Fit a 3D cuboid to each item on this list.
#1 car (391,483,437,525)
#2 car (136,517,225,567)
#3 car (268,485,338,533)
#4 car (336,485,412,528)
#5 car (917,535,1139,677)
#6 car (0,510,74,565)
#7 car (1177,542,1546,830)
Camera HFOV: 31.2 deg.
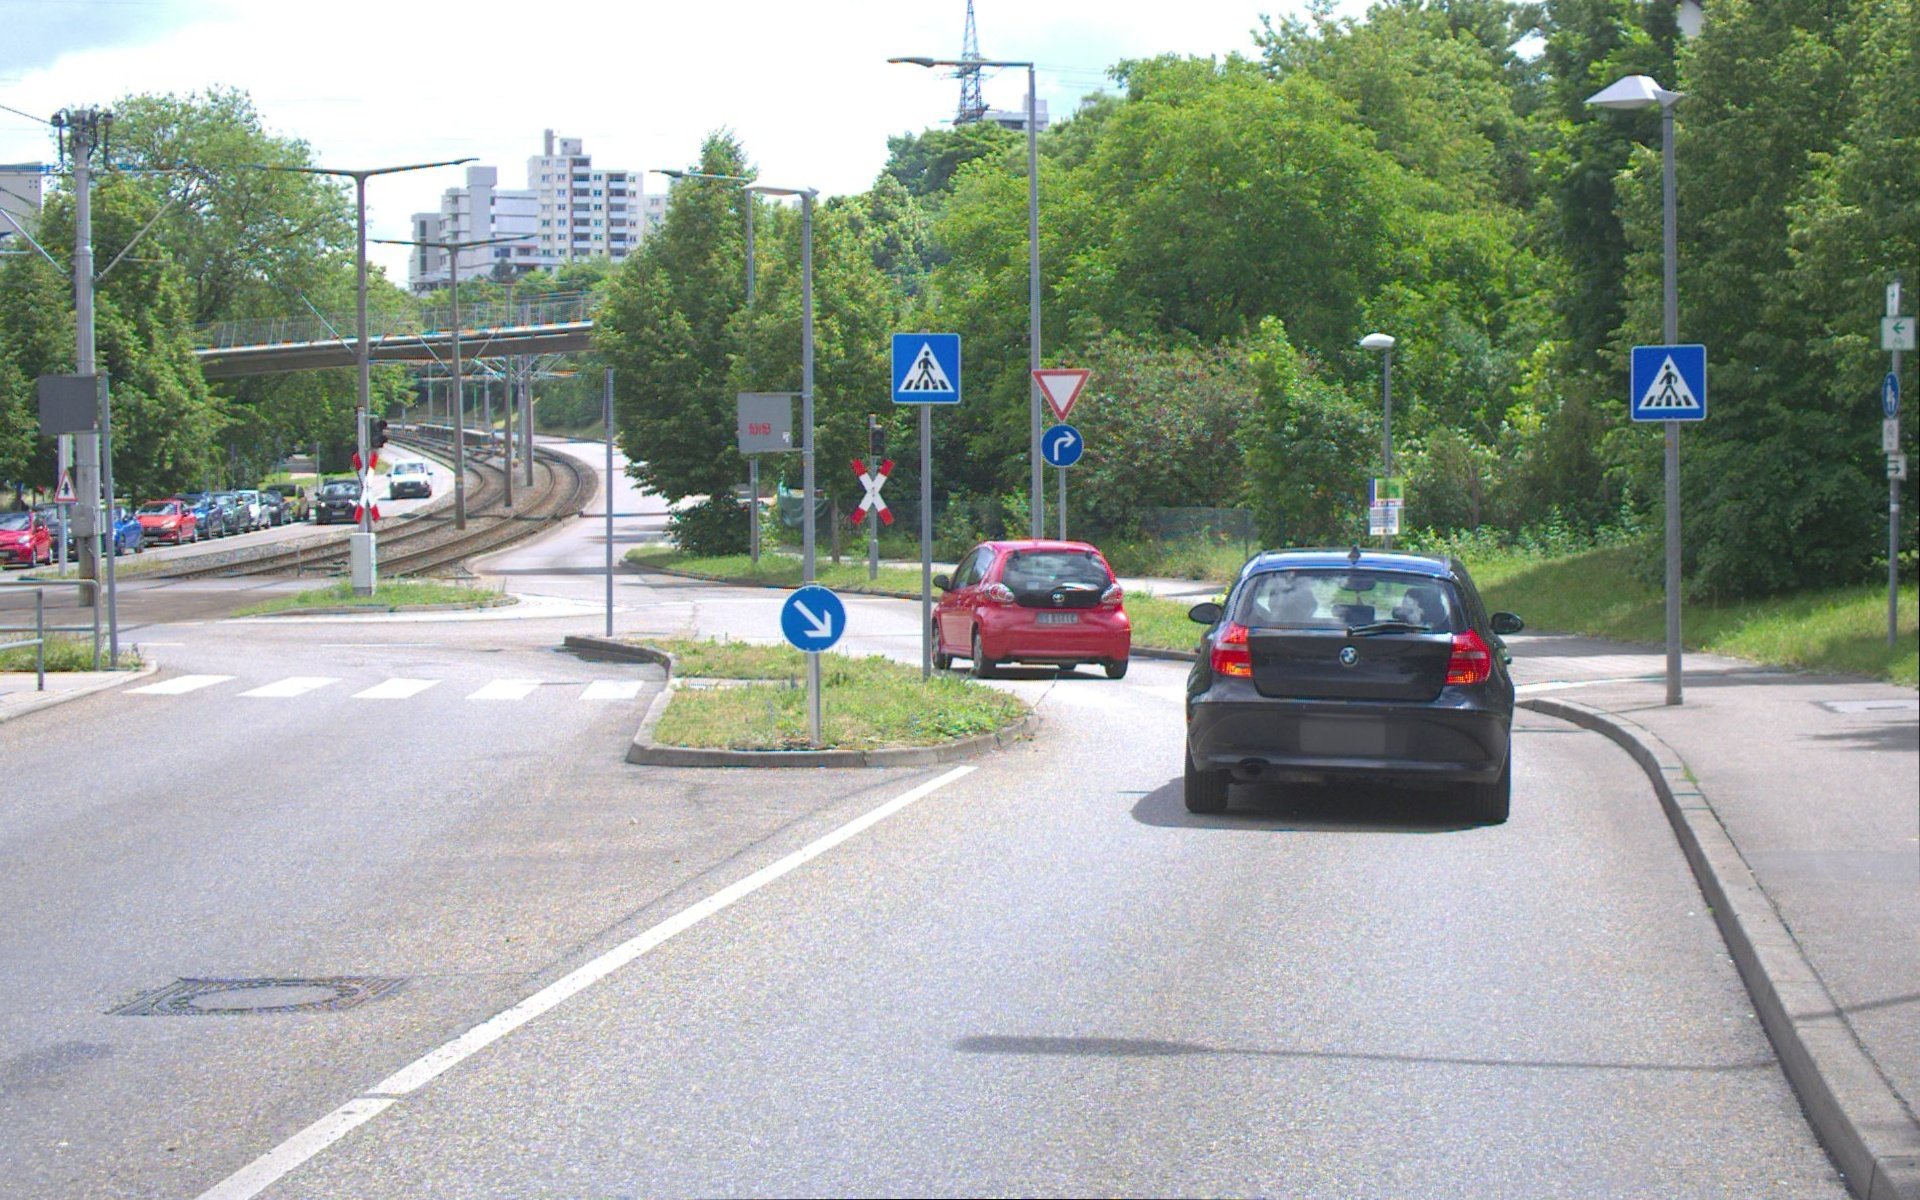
[{"bbox_3d":[-26.907,-4.728,169.297,1.993,2.006,4.001,-1,2,-12],"label":"car"},{"bbox_3d":[-24.957,-1.876,110.169,1.912,1.555,4.000,0,2,0],"label":"car"},{"bbox_3d":[-26.095,-3.646,136.721,1.993,1.856,4.001,0,2,0],"label":"car"},{"bbox_3d":[-22.605,-3.611,132.742,1.993,1.591,4.419,-1,1,2],"label":"car"},{"bbox_3d":[0.685,0.043,37.156,1.765,1.427,3.480,-1,1,-9],"label":"car"},{"bbox_3d":[-24.085,-1.631,88.949,1.528,1.366,3.598,-1,2,-2],"label":"car"},{"bbox_3d":[2.213,0.423,19.268,1.815,1.416,3.999,-1,0,6],"label":"car"}]
